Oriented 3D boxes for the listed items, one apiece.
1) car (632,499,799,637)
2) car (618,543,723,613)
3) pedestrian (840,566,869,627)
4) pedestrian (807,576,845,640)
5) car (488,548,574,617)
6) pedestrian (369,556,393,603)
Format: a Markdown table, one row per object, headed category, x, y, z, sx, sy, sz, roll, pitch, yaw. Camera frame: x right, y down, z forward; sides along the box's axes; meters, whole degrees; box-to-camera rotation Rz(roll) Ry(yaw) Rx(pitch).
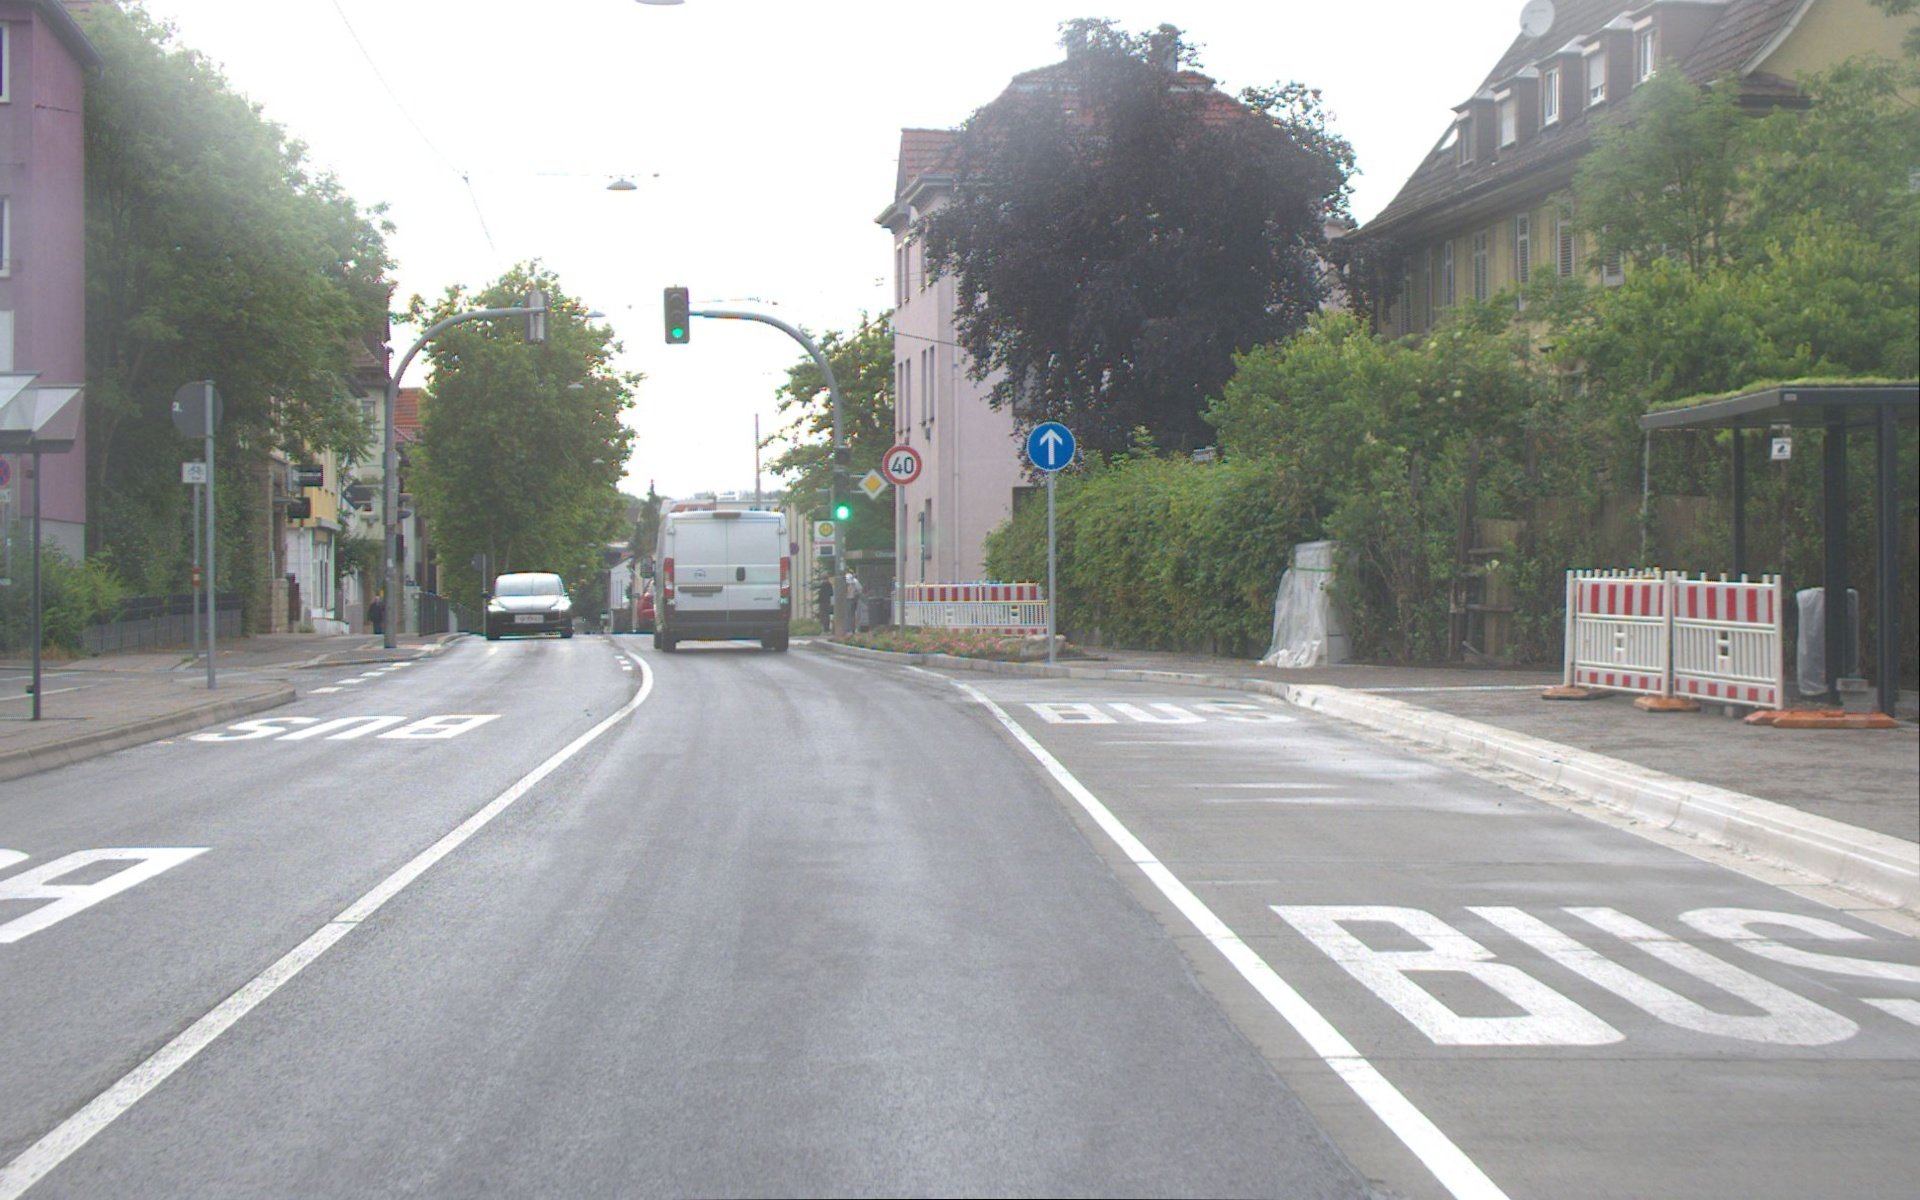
| category | x | y | z | sx | sy | sz | roll | pitch | yaw |
| --- | --- | --- | --- | --- | --- | --- | --- | --- | --- |
| car | -4.050 | -0.507 | 56.131 | 2.346 | 2.153 | 4.778 | 0 | 0 | -8 |
| car | -7.340 | -0.547 | 86.798 | 2.346 | 1.722 | 4.778 | 0 | 0 | -8 |
| pedestrian | -3.024 | -0.095 | 98.167 | 0.660 | 1.735 | 0.829 | -1 | -1 | -12 |
| pedestrian | -3.664 | 0.223 | 93.684 | 0.634 | 1.704 | 0.749 | -2 | 0 | -40 |
| car | -9.351 | -0.391 | 74.671 | 1.783 | 1.447 | 4.391 | 0 | 1 | -8 |
| pedestrian | -21.242 | -0.754 | 126.213 | 0.815 | 1.674 | 0.993 | 1 | -2 | -9 |
